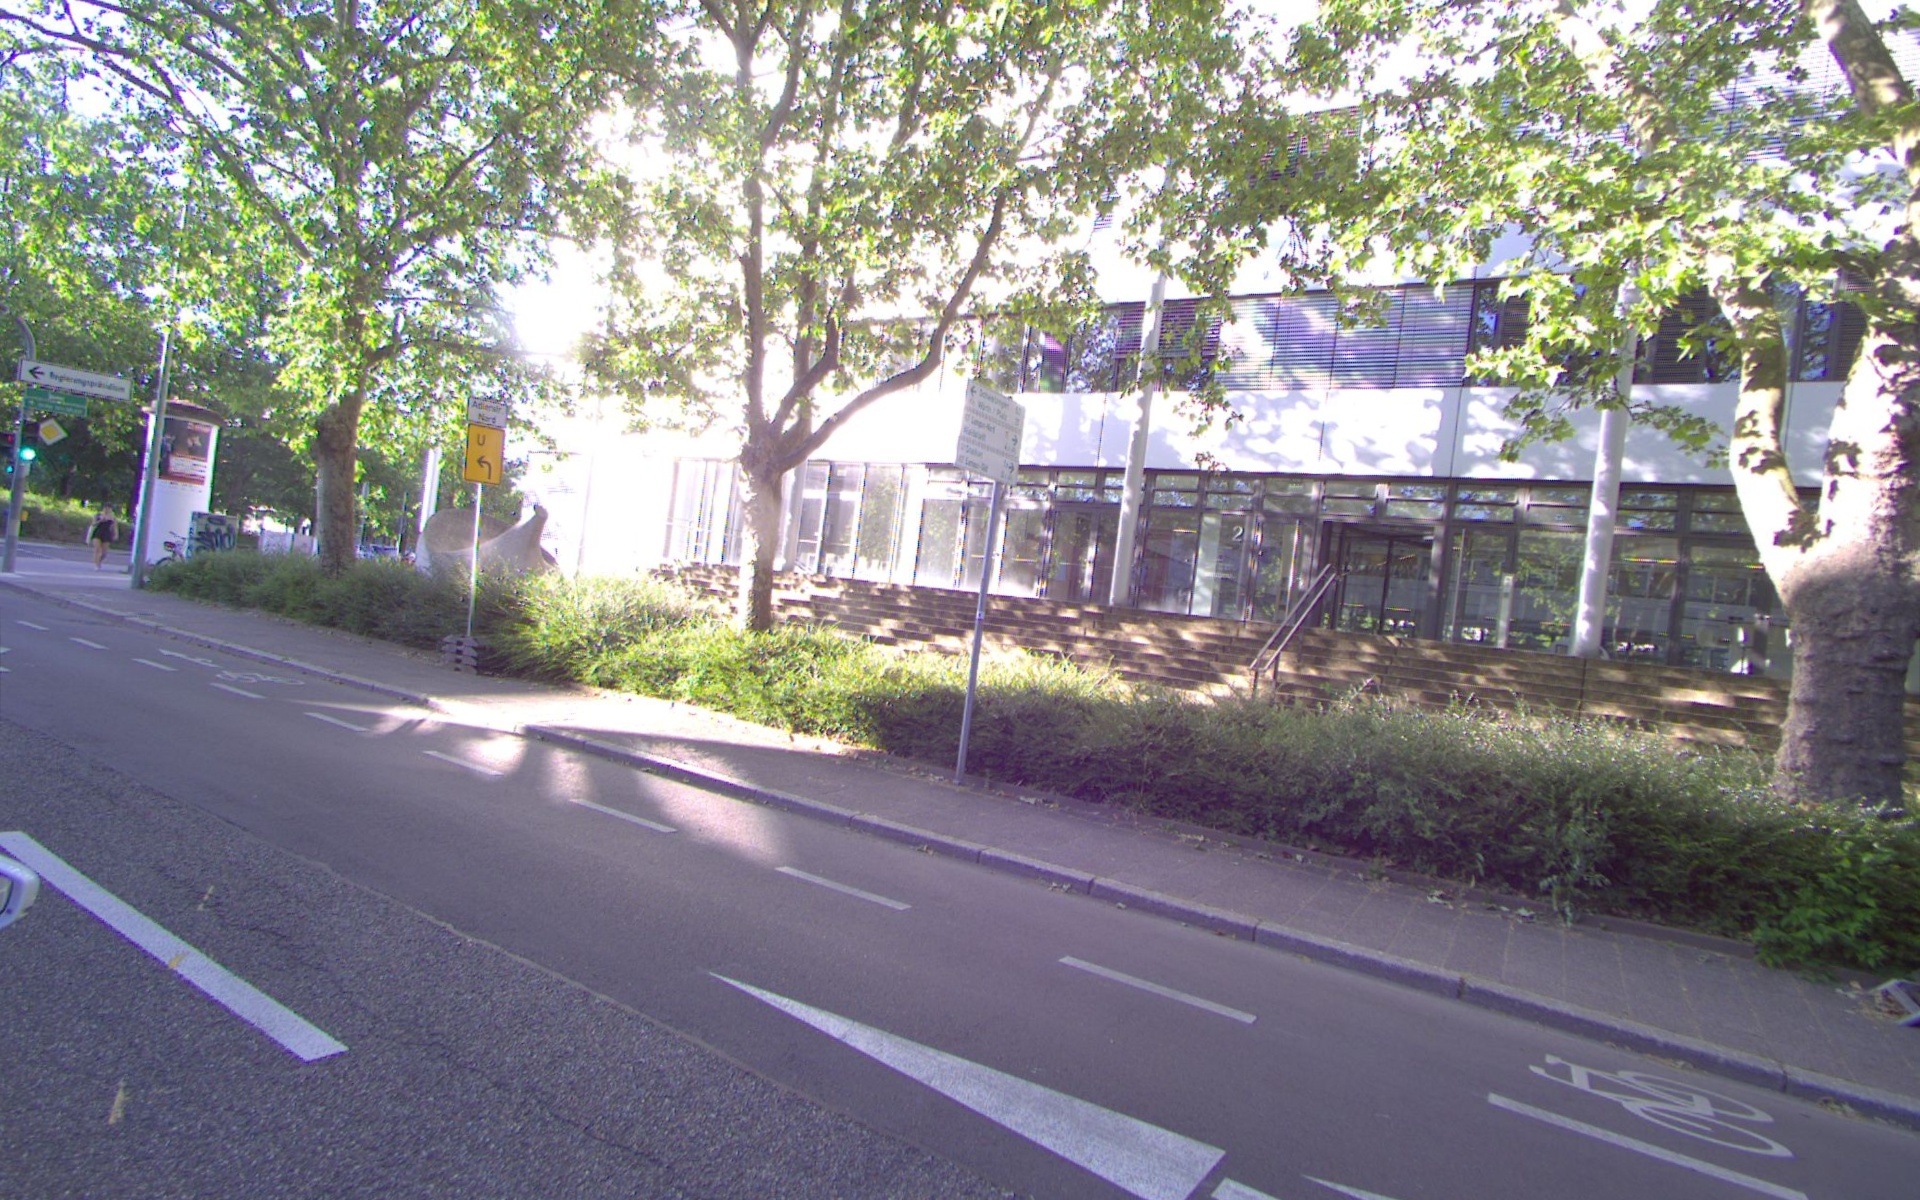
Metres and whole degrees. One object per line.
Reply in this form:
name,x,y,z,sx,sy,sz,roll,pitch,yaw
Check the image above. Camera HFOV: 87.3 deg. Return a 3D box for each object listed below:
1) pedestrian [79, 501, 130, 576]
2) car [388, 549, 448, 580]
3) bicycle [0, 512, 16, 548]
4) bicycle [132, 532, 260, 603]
pedestrian,-20.257,-1.443,23.832,0.794,1.651,0.897,5,0,-41
car,-35.570,-2.328,65.980,3.732,1.500,1.633,6,-2,31
bicycle,-31.864,-2.362,33.158,1.712,1.113,0.525,6,-1,31
bicycle,-15.945,-0.655,21.065,0.519,1.203,1.980,7,-2,30
